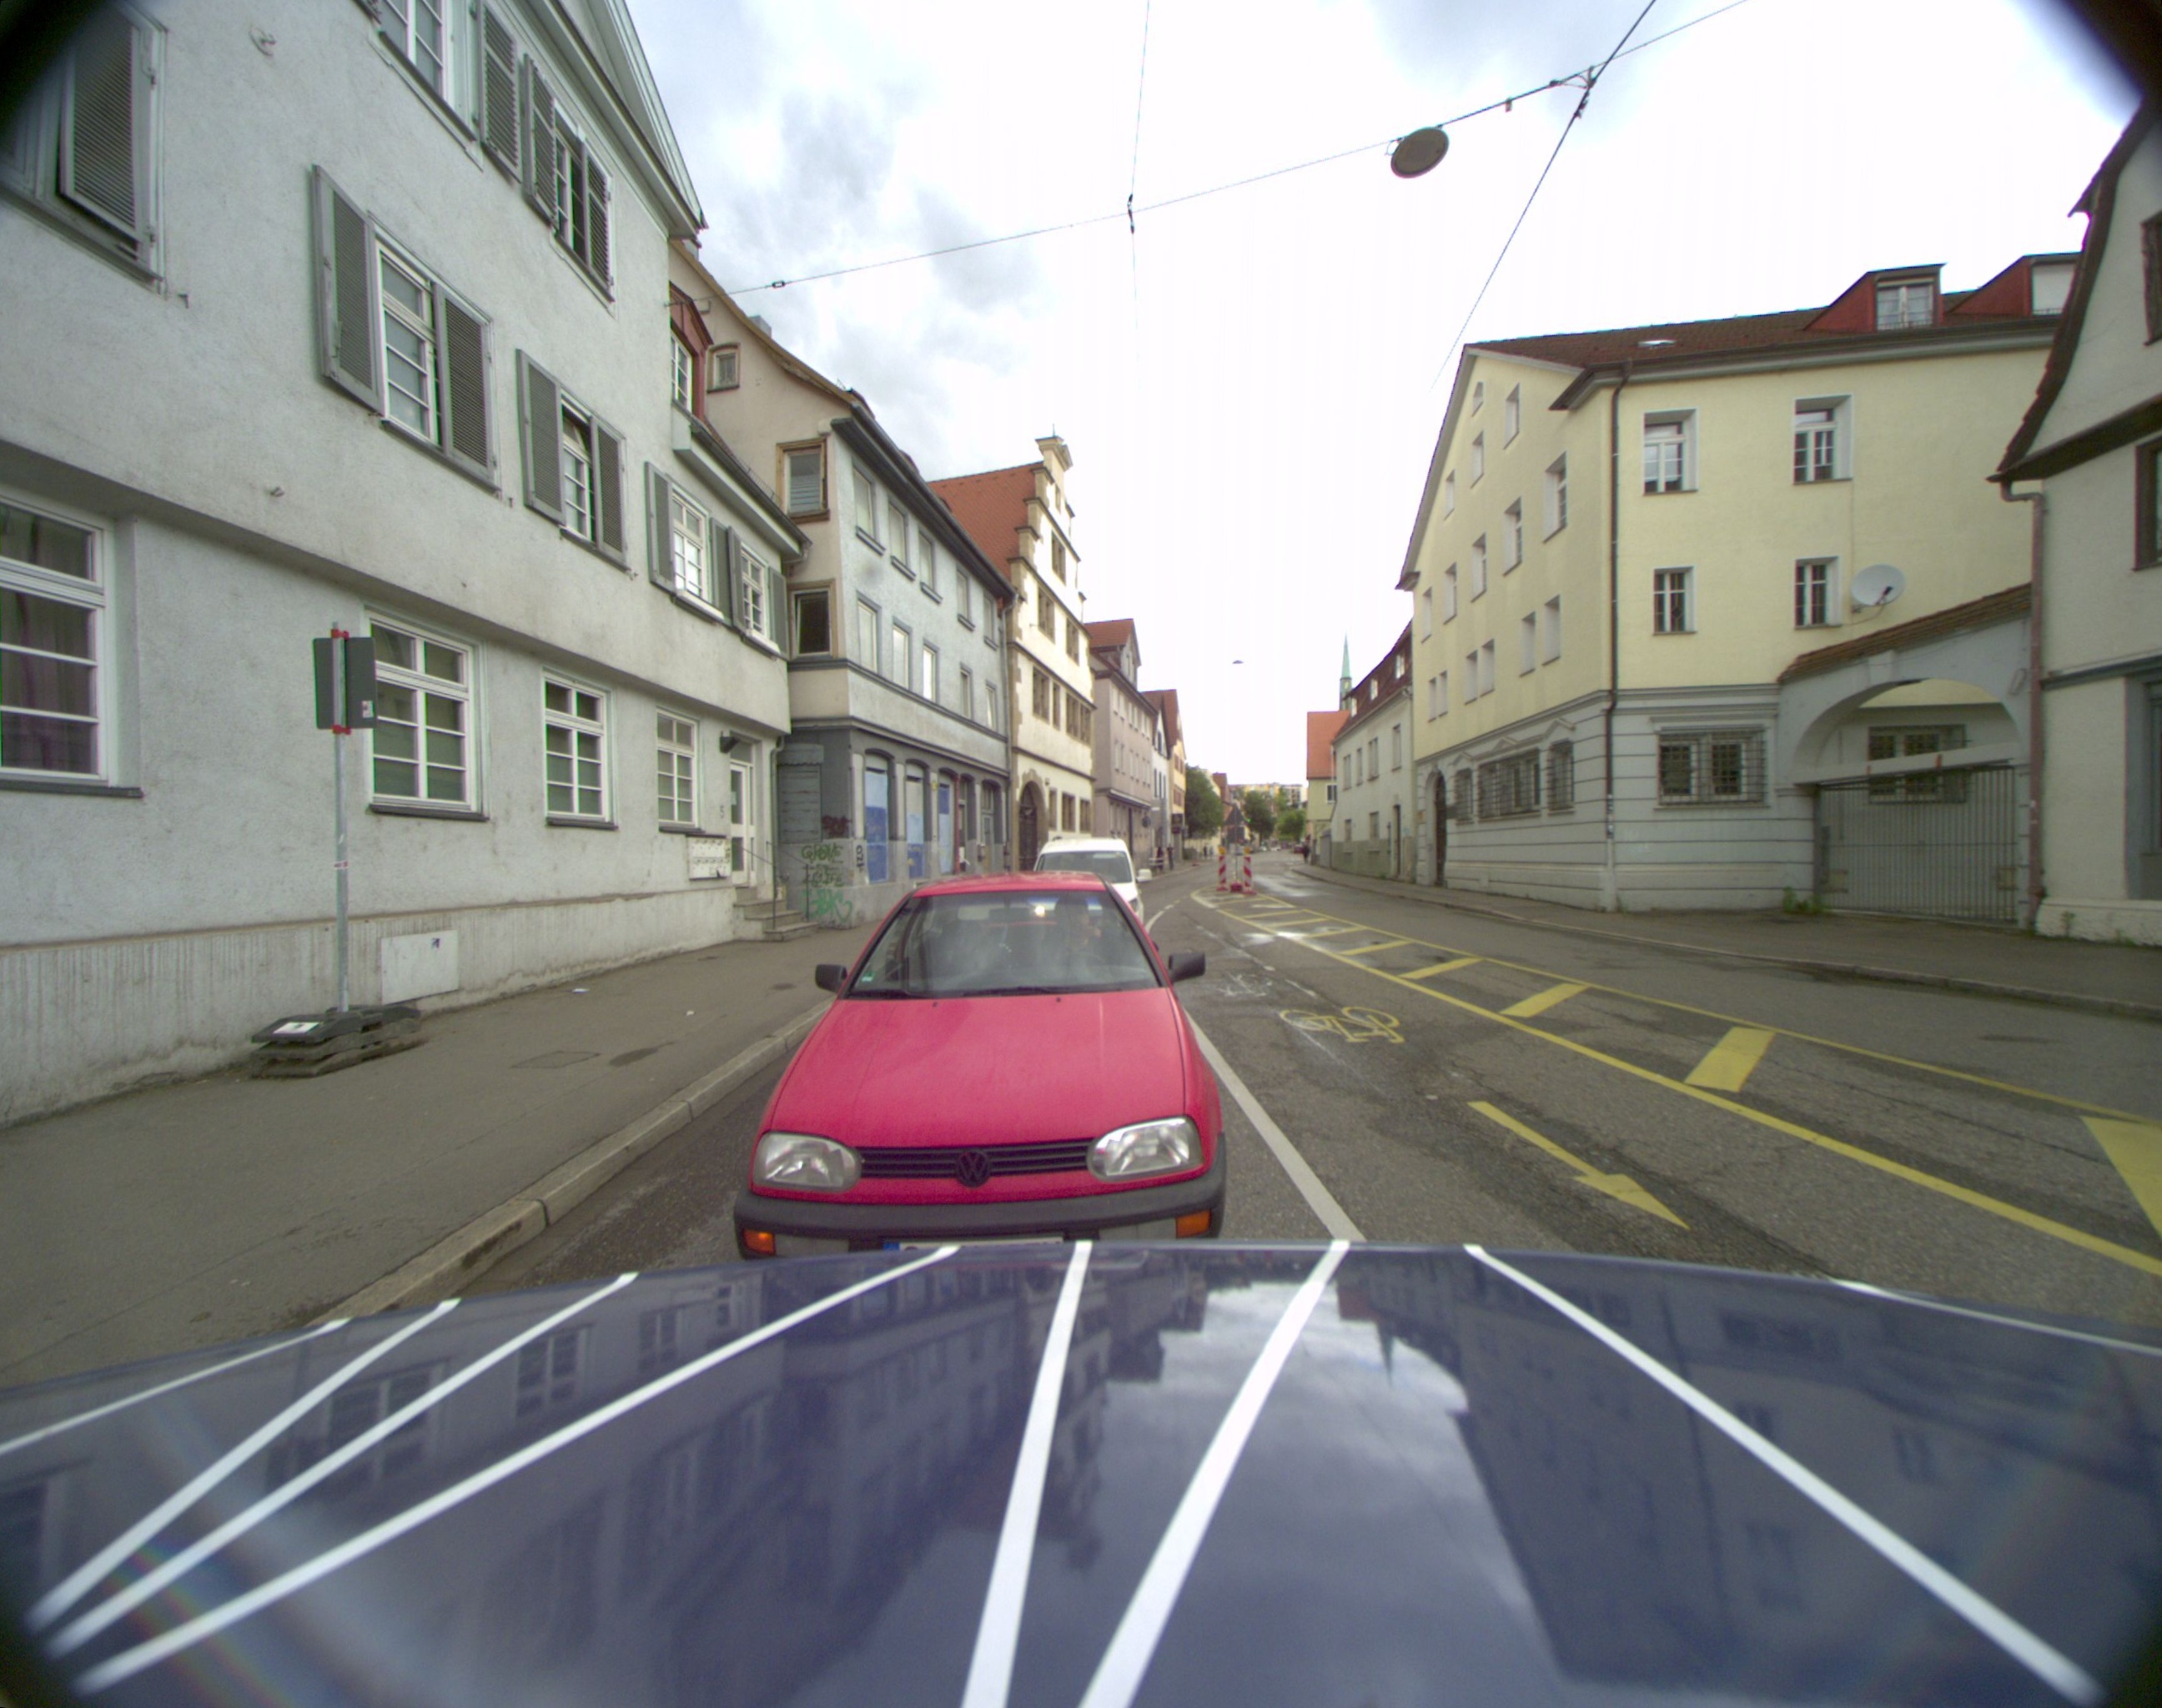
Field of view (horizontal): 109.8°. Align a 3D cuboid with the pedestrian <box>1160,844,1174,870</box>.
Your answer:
[{"bbox_3d":[5.199,0.183,45.891,0.725,1.604,0.649,-1,0,12],"label":"pedestrian"}]

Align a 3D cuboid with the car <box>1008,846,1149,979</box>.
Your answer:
[{"bbox_3d":[0.076,0.751,12.158,1.814,1.695,4.257,-2,1,3],"label":"car"}]

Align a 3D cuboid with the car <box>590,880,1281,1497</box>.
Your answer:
[{"bbox_3d":[-0.387,0.970,4.039,1.792,1.417,3.999,-2,1,0],"label":"car"}]

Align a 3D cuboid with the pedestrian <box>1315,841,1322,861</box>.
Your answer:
[{"bbox_3d":[21.517,-0.241,68.798,0.592,1.769,0.505,-1,0,16],"label":"pedestrian"}]
